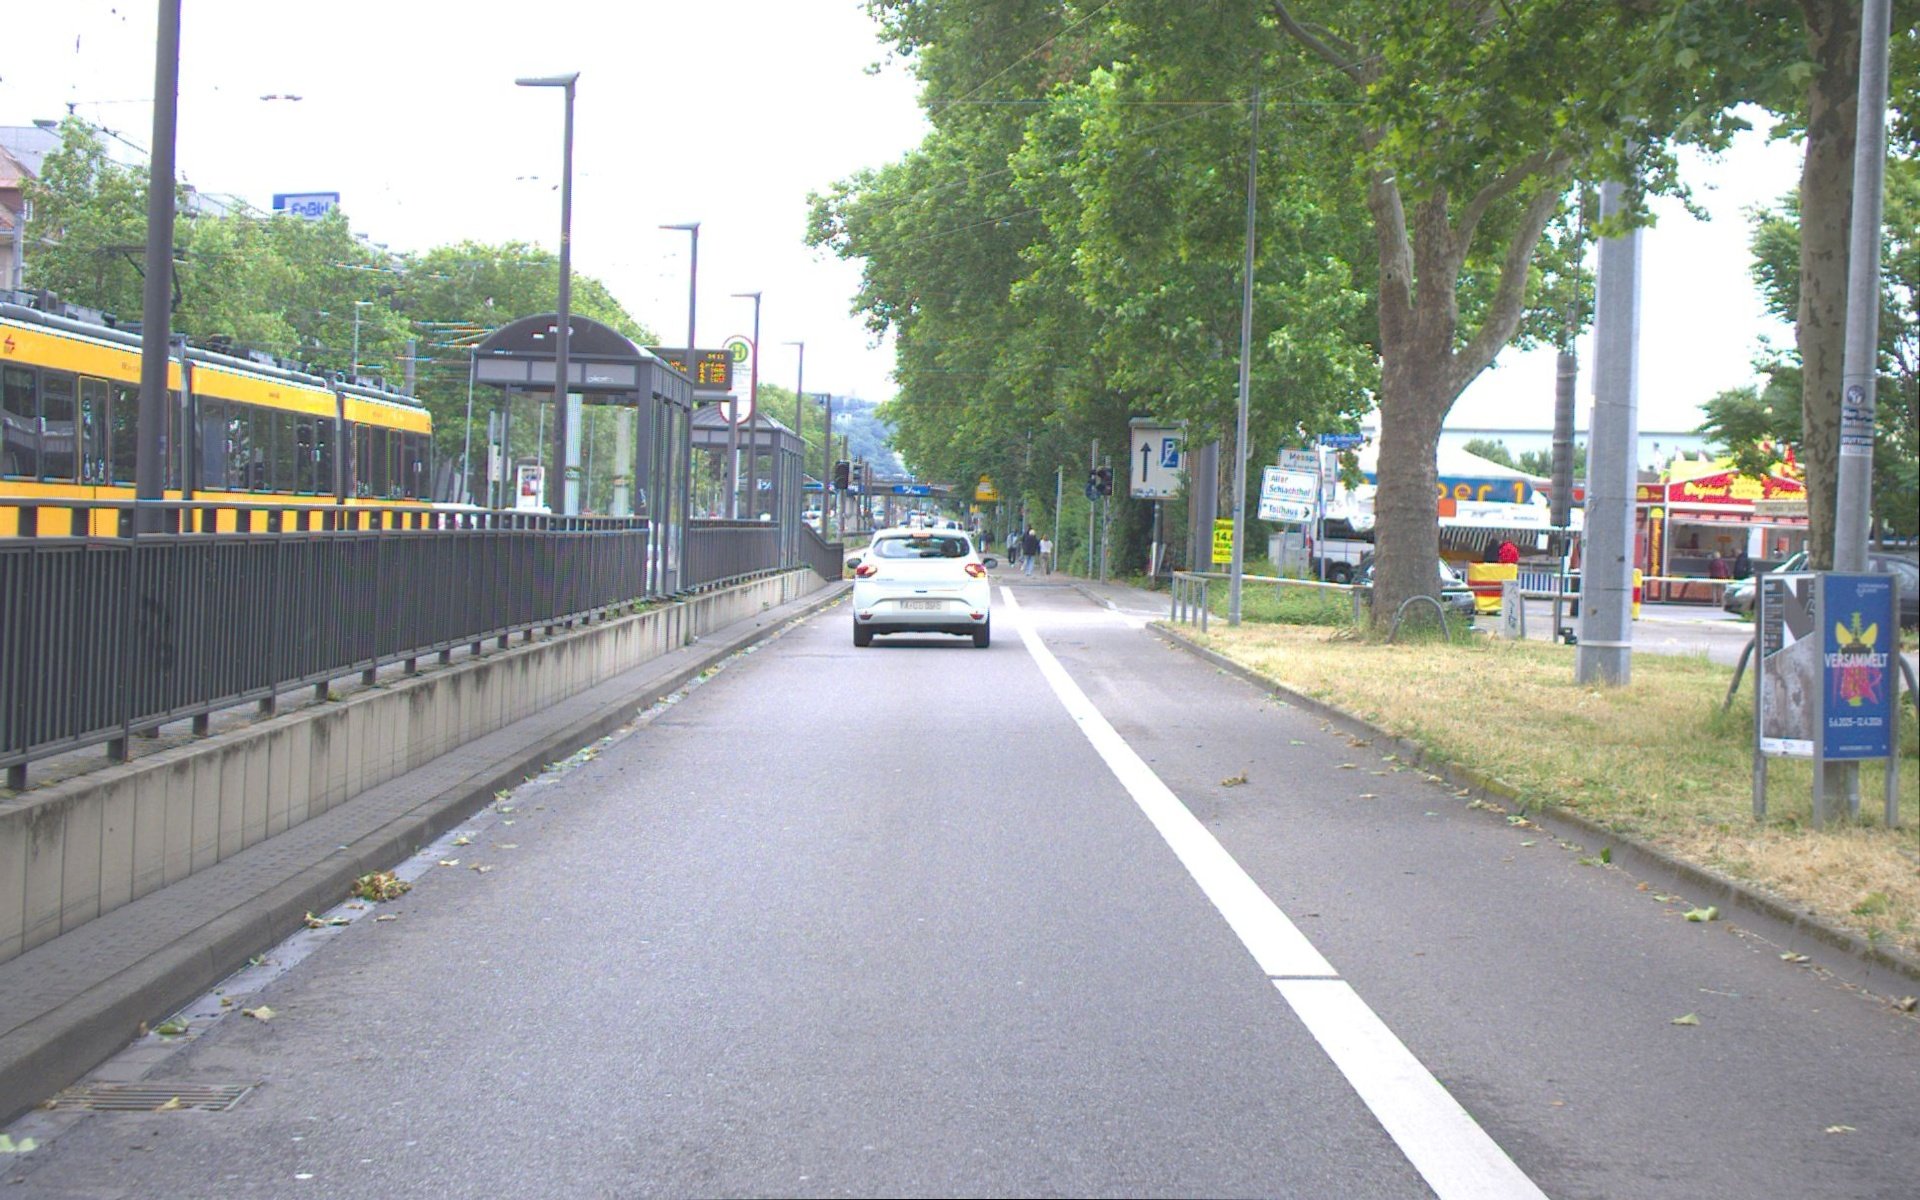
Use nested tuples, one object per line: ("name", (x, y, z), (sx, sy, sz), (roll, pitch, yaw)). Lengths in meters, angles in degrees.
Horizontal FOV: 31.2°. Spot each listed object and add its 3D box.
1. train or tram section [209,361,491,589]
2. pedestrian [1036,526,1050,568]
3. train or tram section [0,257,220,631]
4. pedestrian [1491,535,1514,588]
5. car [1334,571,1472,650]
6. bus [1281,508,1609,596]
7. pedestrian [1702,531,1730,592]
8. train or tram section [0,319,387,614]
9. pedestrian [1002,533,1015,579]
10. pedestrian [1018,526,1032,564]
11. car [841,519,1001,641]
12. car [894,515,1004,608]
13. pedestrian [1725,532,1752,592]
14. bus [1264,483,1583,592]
("train or tram section", (-12.429, -2.436, 71.764), (3.180, 4.164, 14.735), (2, 1, 0))
("pedestrian", (3.148, -1.989, 129.975), (0.396, 1.580, 0.538), (2, 1, 9))
("train or tram section", (-12.341, -1.836, 42.346), (3.180, 4.164, 14.735), (2, 1, 0))
("pedestrian", (15.021, -1.069, 95.156), (0.492, 1.458, 0.524), (2, 1, -3))
("car", (8.705, 0.188, 67.870), (1.863, 1.425, 4.001), (2, 1, -4))
("bus", (14.262, -1.407, 101.289), (9.276, 2.220, 2.000), (2, 1, -2))
("pedestrian", (21.308, -1.087, 96.877), (0.522, 1.681, 0.494), (2, 1, -16))
("train or tram section", (-12.390, -2.021, 57.069), (3.180, 4.164, 14.735), (2, 1, 0))
("pedestrian", (2.128, -1.927, 150.180), (0.396, 2.007, 0.402), (2, 1, 15))
("pedestrian", (2.461, -2.075, 129.907), (0.396, 1.439, 0.563), (2, 1, 13))
("car", (-0.553, -0.281, 44.723), (1.885, 1.448, 4.001), (2, 1, -3))
("car", (-0.168, -0.701, 61.120), (1.841, 1.546, 4.000), (2, 1, 1))
("pedestrian", (22.044, -1.069, 97.352), (0.522, 1.681, 0.494), (2, 1, -16))
("bus", (14.034, -1.895, 104.321), (9.276, 2.949, 2.000), (2, 1, -2))
